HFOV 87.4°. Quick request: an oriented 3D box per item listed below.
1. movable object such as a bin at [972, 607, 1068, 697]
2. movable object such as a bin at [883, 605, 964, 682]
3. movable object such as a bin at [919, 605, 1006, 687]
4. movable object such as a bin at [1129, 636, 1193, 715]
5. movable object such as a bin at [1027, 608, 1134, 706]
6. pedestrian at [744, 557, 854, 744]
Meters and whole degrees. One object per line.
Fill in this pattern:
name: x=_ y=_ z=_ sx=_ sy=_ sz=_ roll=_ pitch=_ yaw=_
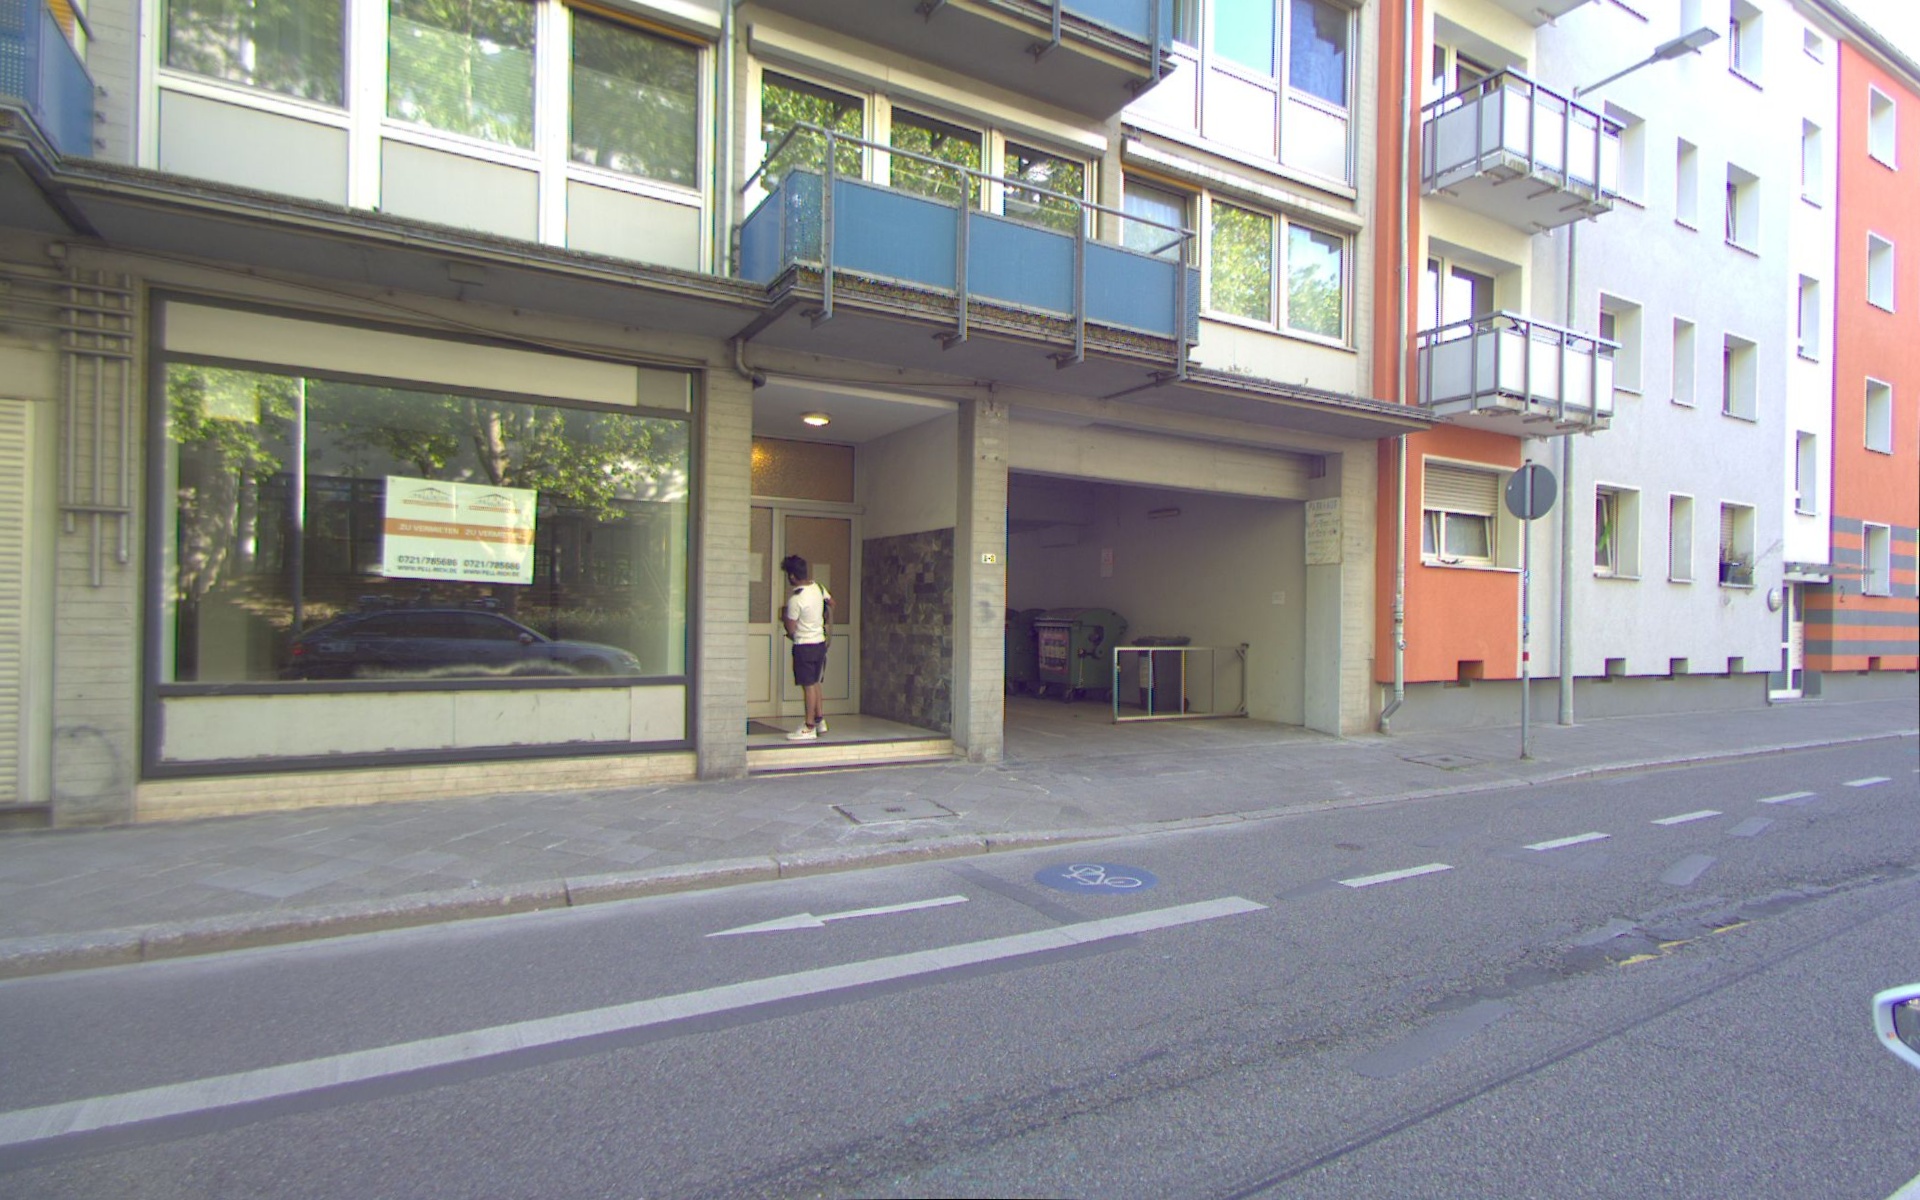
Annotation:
movable object such as a bin: x=1.015 y=0.870 z=17.160 sx=1.120 sy=1.444 sz=1.268 roll=2 pitch=0 yaw=-28
movable object such as a bin: x=-0.734 y=0.836 z=19.795 sx=1.120 sy=1.444 sz=1.268 roll=2 pitch=0 yaw=-28
movable object such as a bin: x=0.037 y=0.833 z=18.704 sx=1.120 sy=1.444 sz=1.268 roll=2 pitch=0 yaw=-28
movable object such as a bin: x=2.895 y=1.075 z=14.495 sx=0.713 sy=1.094 sz=0.533 roll=2 pitch=0 yaw=-29
movable object such as a bin: x=1.883 y=0.876 z=15.819 sx=1.120 sy=1.444 sz=1.268 roll=2 pitch=0 yaw=-28
pedestrian: x=-1.476 y=0.452 z=9.325 sx=0.820 sy=1.639 sz=0.794 roll=2 pitch=0 yaw=3
